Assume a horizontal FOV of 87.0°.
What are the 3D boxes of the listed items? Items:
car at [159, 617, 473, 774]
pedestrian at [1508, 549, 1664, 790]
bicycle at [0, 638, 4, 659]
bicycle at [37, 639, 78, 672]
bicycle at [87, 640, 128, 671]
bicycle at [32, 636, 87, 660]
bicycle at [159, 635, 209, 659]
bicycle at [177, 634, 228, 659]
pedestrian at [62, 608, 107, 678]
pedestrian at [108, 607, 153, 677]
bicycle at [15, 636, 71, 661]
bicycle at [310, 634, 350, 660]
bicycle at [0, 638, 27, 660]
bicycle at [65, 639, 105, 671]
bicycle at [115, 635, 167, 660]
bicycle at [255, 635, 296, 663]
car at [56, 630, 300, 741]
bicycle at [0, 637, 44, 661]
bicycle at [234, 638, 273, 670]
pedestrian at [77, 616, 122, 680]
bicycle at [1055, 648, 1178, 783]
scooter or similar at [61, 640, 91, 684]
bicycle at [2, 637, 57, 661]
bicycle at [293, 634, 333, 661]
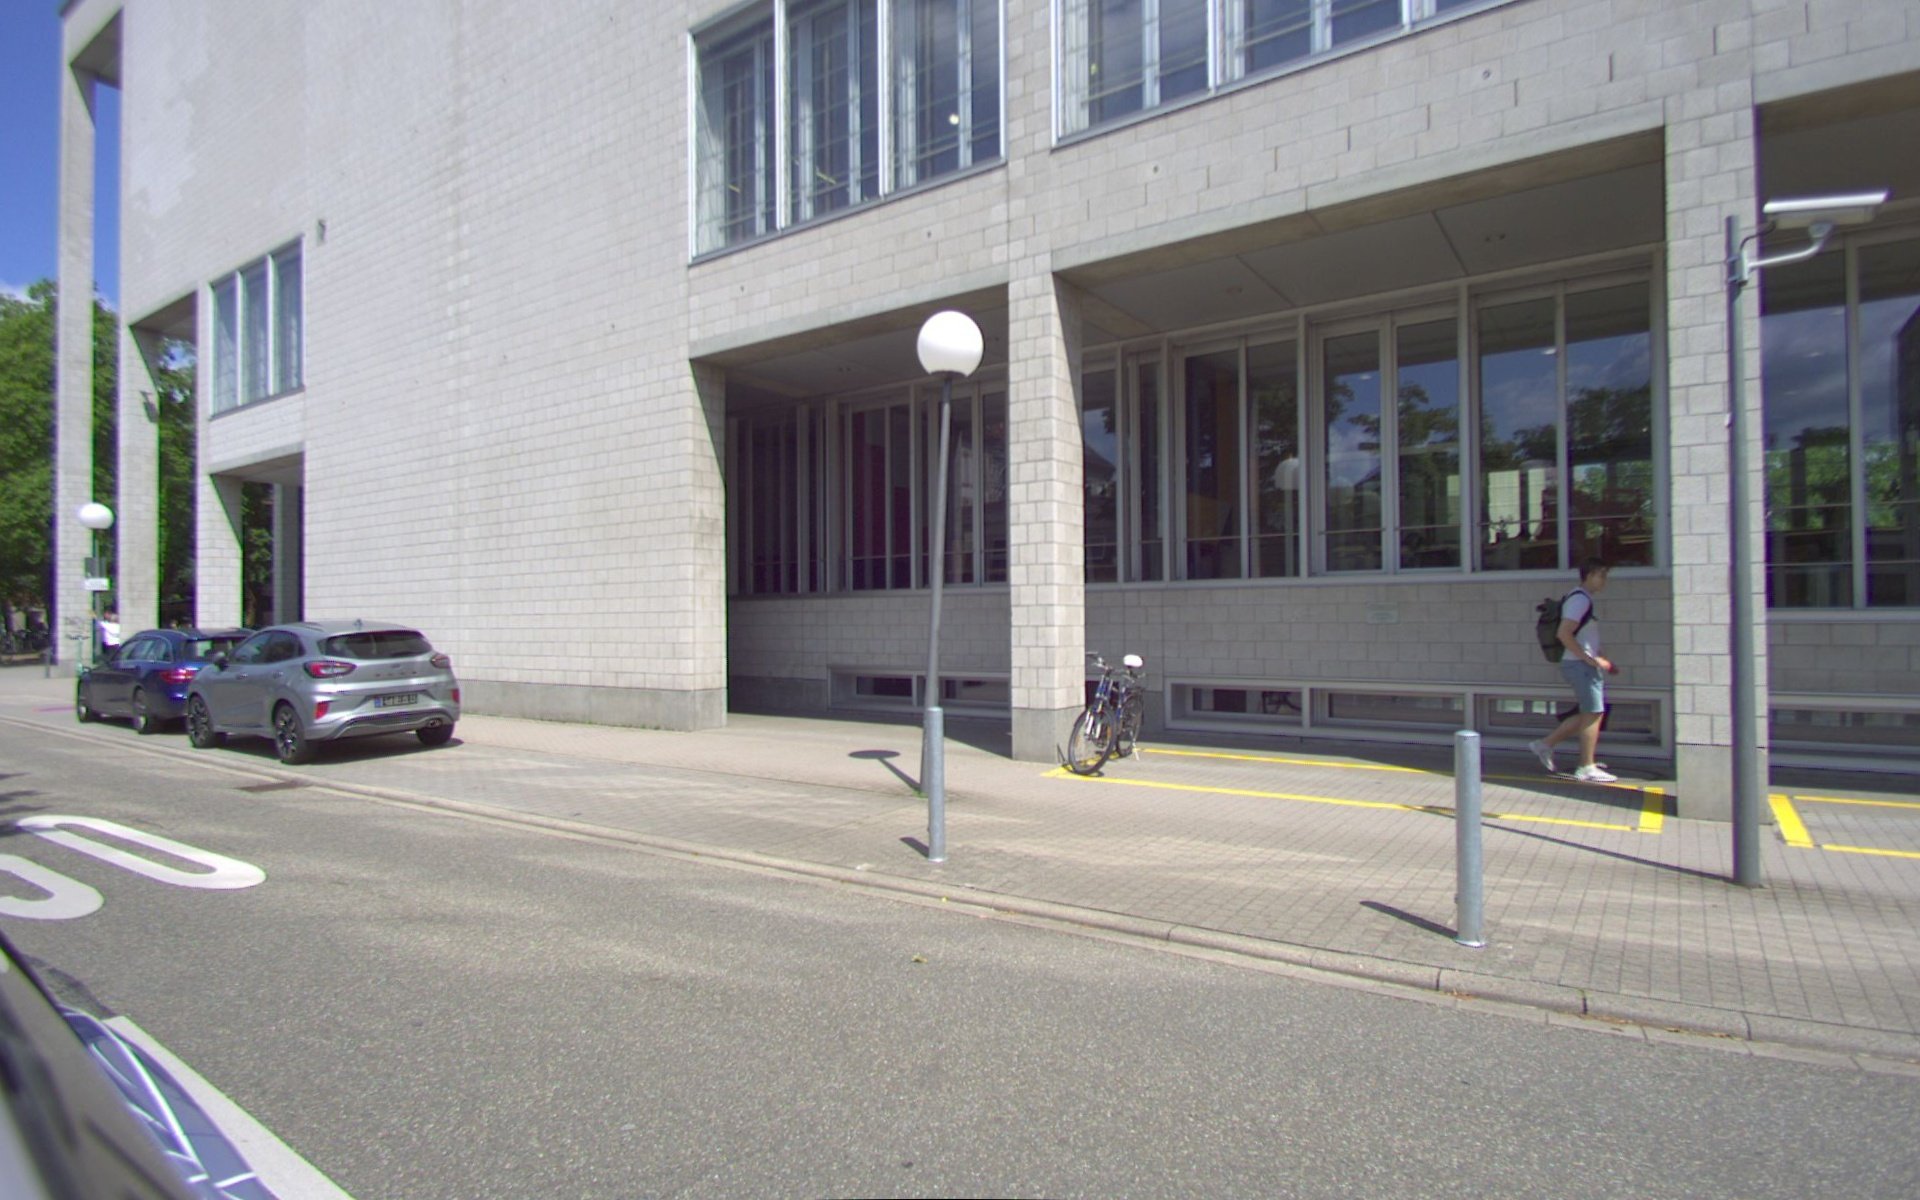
[{"bbox_3d":[-7.951,1.016,12.356,4.396,1.546,1.711,-1,1,36],"label":"car"},{"bbox_3d":[5.192,0.548,8.401,1.011,1.852,0.770,-2,-1,35],"label":"pedestrian"},{"bbox_3d":[-49.840,2.517,51.296,0.674,1.066,2.121,-1,-1,5],"label":"bicycle"},{"bbox_3d":[-31.303,1.923,35.097,1.994,1.115,0.503,-2,-1,31],"label":"bicycle"},{"bbox_3d":[-30.548,1.969,36.248,2.119,1.066,0.615,-1,-1,35],"label":"bicycle"},{"bbox_3d":[-44.906,2.381,50.521,0.744,1.115,2.121,-1,-1,5],"label":"bicycle"},{"bbox_3d":[-38.002,2.291,49.591,0.744,1.115,2.121,-1,-1,5],"label":"bicycle"},{"bbox_3d":[-36.963,2.273,49.409,0.744,1.115,2.121,-1,-1,5],"label":"bicycle"},{"bbox_3d":[-25.785,1.254,29.811,1.078,2.029,0.746,-2,-1,35],"label":"pedestrian"},{"bbox_3d":[-24.490,1.234,29.879,1.078,2.029,0.746,-2,-1,35],"label":"pedestrian"},{"bbox_3d":[-45.850,2.401,50.643,0.744,1.166,2.121,-1,-1,5],"label":"bicycle"},{"bbox_3d":[-26.265,1.954,42.176,2.169,1.066,0.615,-1,-1,35],"label":"bicycle"},{"bbox_3d":[-48.321,2.489,50.902,0.674,1.066,2.121,-1,-1,5],"label":"bicycle"},{"bbox_3d":[-30.892,1.924,35.716,2.119,1.066,0.585,-1,-1,35],"label":"bicycle"},{"bbox_3d":[-40.339,2.330,49.869,0.744,1.115,2.121,-1,-1,5],"label":"bicycle"},{"bbox_3d":[-27.459,1.957,40.584,2.119,1.066,0.615,-1,-1,35],"label":"bicycle"},{"bbox_3d":[-12.028,1.208,15.460,4.655,1.433,1.711,-2,-1,36],"label":"car"},{"bbox_3d":[-47.336,2.448,50.787,0.674,1.115,2.121,-1,-1,5],"label":"bicycle"},{"bbox_3d":[-23.141,1.745,33.135,1.963,0.993,0.511,-1,-1,39],"label":"bicycle"},{"bbox_3d":[-24.718,1.360,29.072,1.078,1.794,0.746,-2,-1,35],"label":"pedestrian"},{"bbox_3d":[1.518,1.034,9.586,0.605,1.095,1.627,-2,-1,29],"label":"bicycle"},{"bbox_3d":[-23.968,1.678,27.441,1.310,1.153,0.314,-2,-1,35],"label":"scooter or similar"},{"bbox_3d":[-46.597,2.436,50.724,0.674,1.115,2.121,-1,-1,5],"label":"bicycle"},{"bbox_3d":[-26.624,1.937,41.623,2.169,1.066,0.615,-1,-1,35],"label":"bicycle"}]
